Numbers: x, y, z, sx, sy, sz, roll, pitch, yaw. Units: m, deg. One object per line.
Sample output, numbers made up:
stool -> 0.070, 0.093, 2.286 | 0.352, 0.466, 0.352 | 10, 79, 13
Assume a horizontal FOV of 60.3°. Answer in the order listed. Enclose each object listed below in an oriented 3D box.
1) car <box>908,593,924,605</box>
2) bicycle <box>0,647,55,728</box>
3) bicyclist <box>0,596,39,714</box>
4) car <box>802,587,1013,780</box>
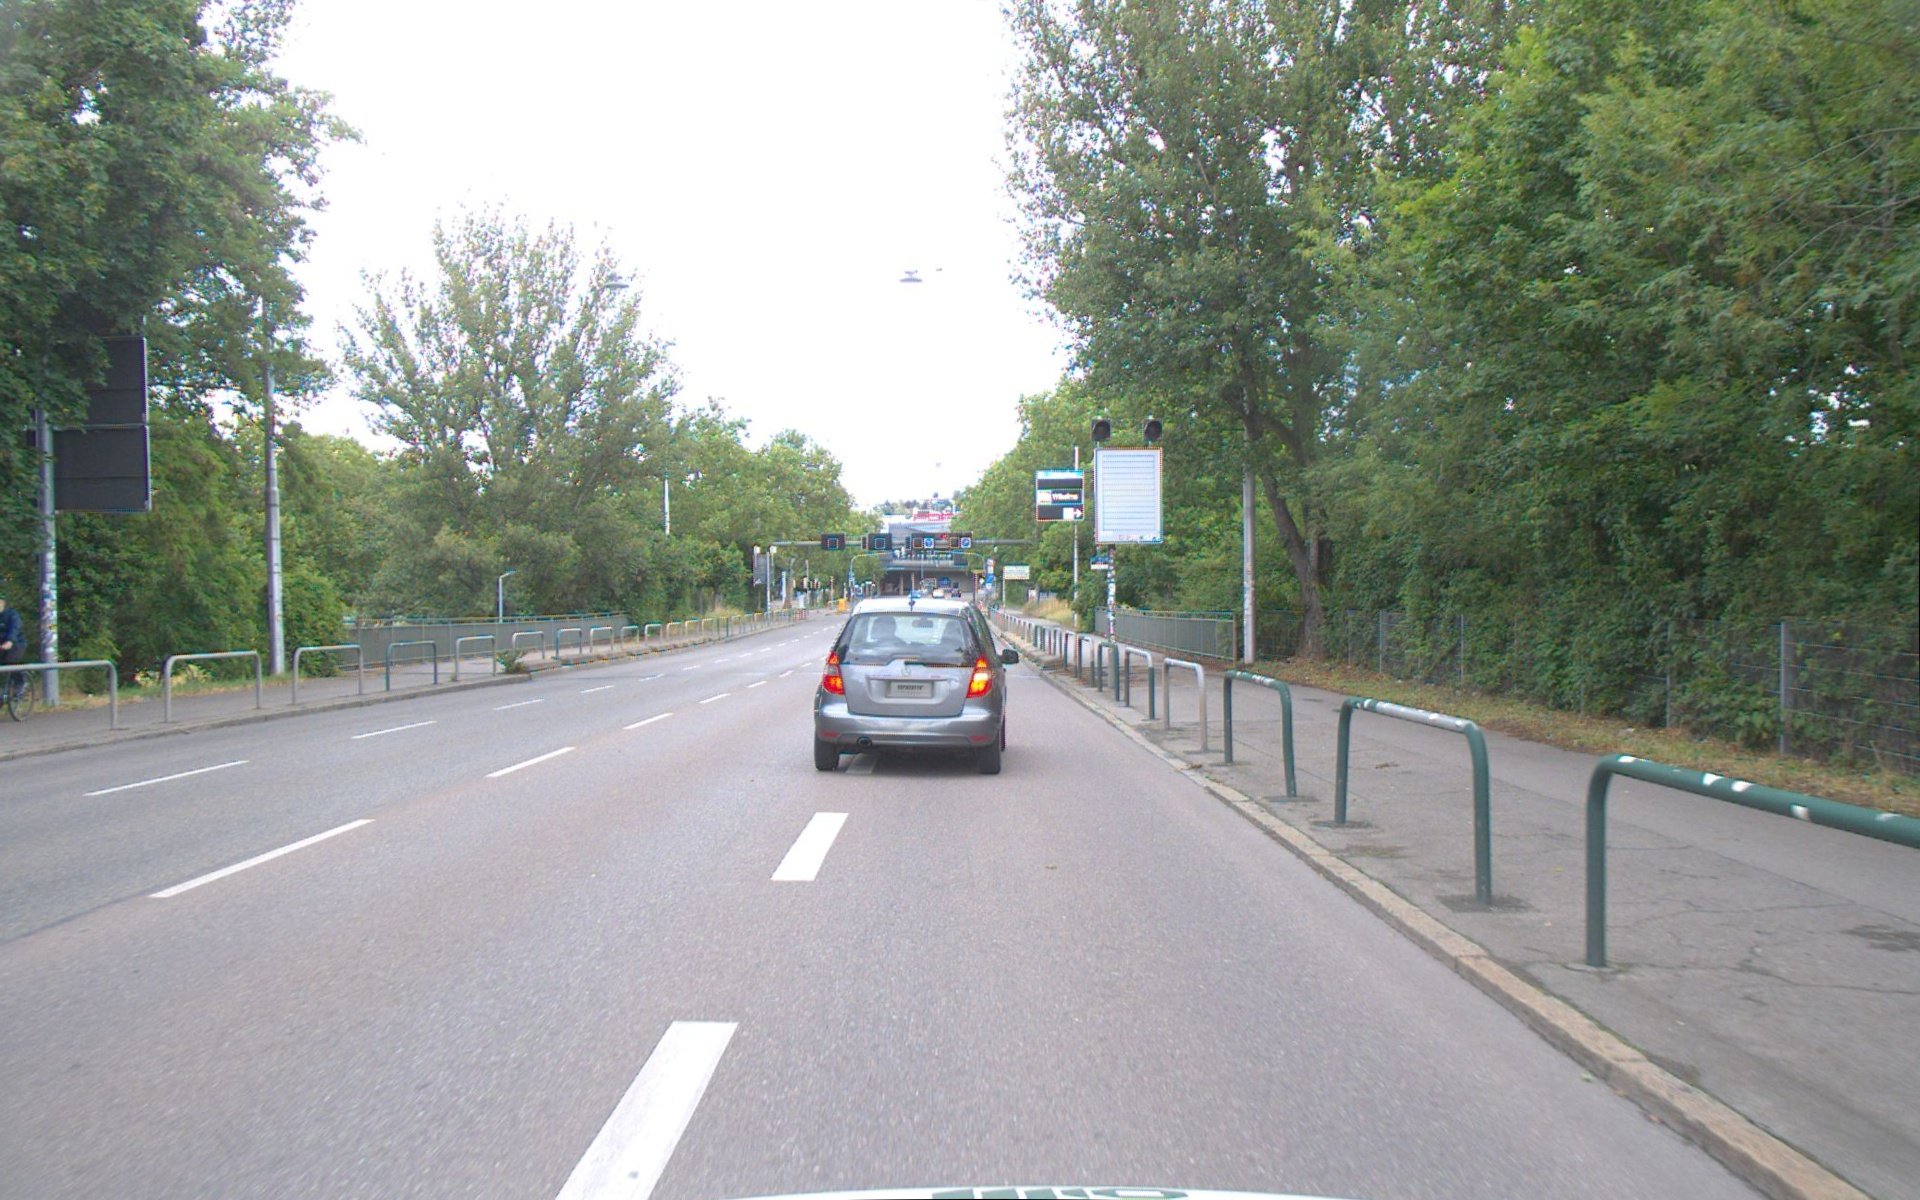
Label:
car -> -6.512, -0.152, 243.408 | 1.952, 1.689, 4.518 | -2, 0, 3
bicycle -> -12.876, 1.177, 22.109 | 0.475, 1.019, 2.001 | -1, 0, -1
bicyclist -> -12.874, 0.724, 22.166 | 0.504, 1.543, 0.984 | -1, 0, -1
car -> -0.387, 0.739, 16.318 | 1.788, 1.644, 4.035 | 1, -1, 2
